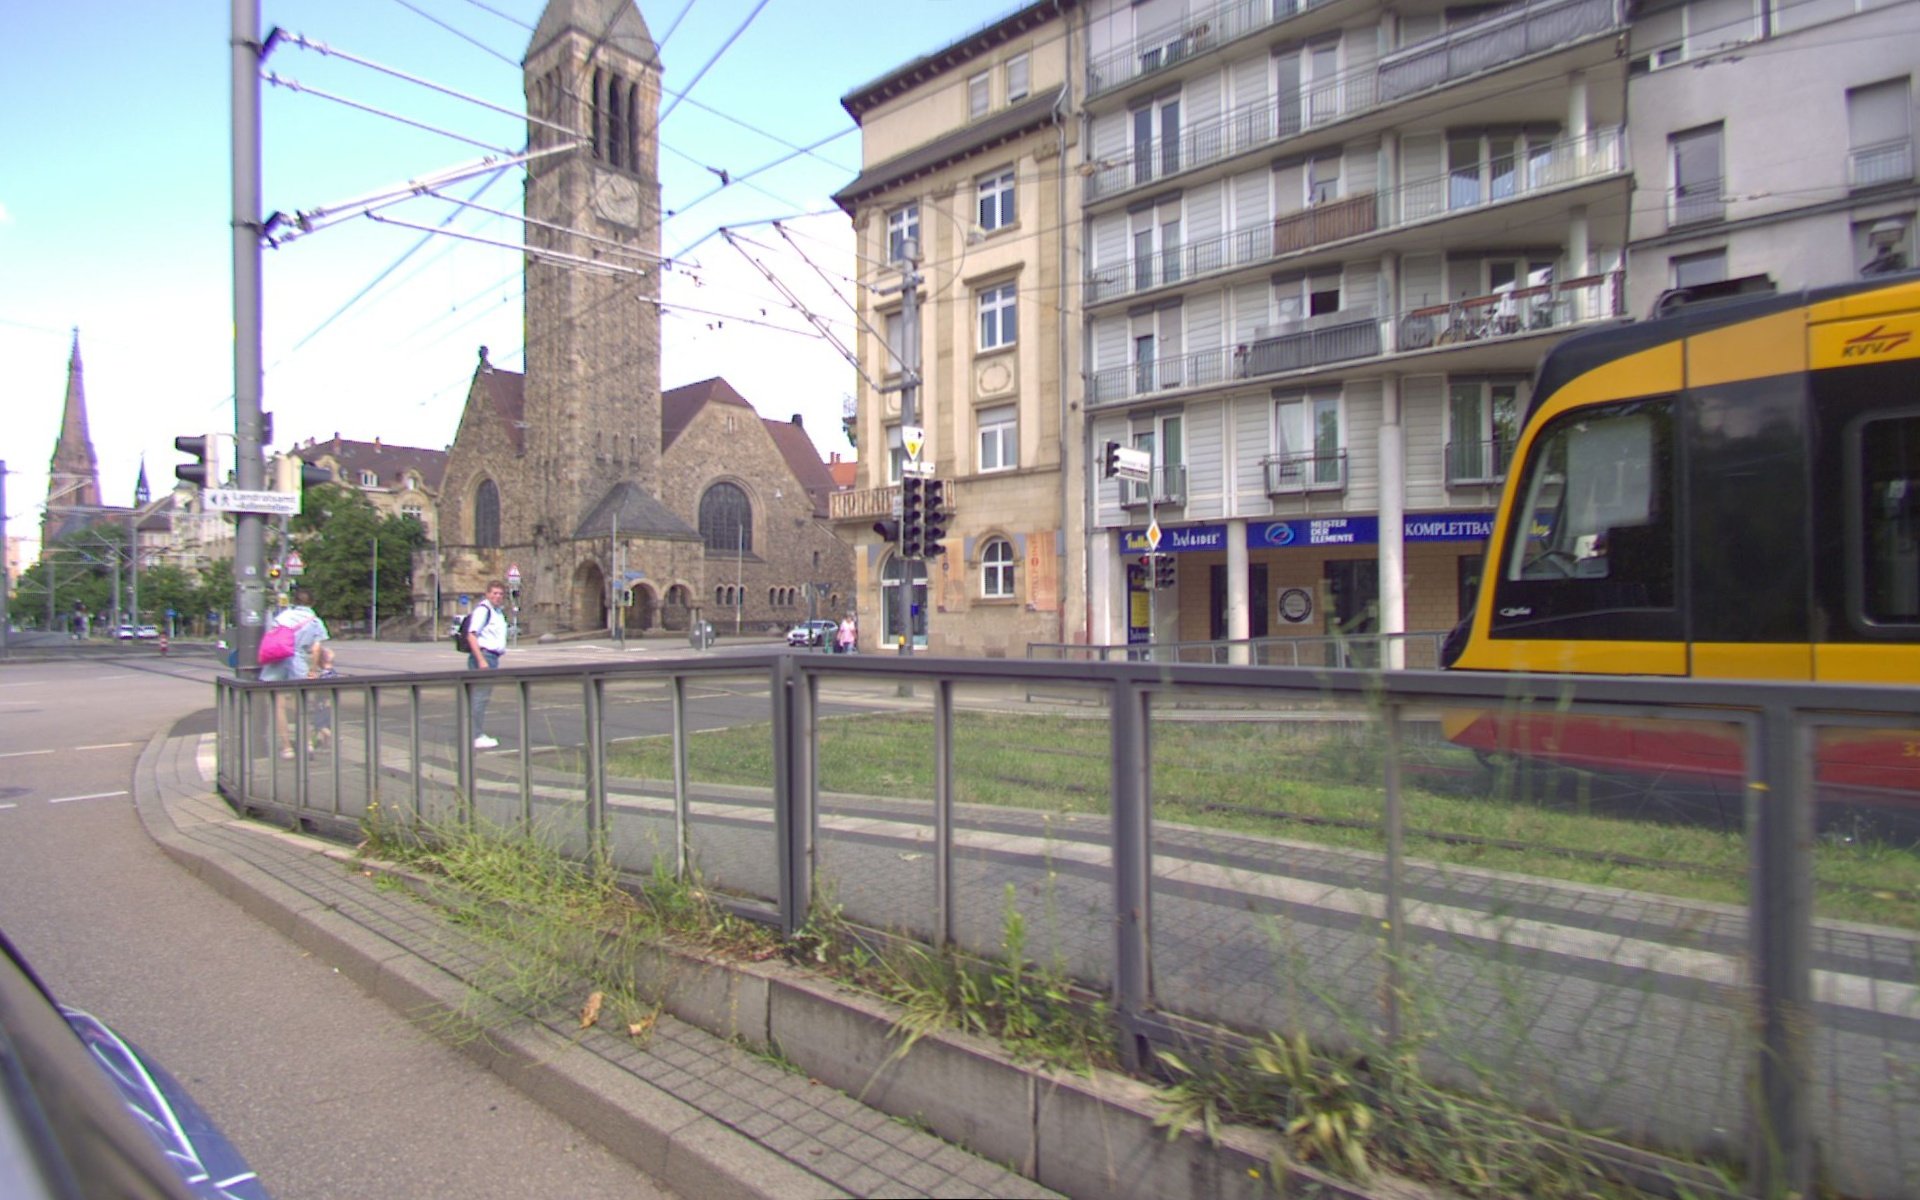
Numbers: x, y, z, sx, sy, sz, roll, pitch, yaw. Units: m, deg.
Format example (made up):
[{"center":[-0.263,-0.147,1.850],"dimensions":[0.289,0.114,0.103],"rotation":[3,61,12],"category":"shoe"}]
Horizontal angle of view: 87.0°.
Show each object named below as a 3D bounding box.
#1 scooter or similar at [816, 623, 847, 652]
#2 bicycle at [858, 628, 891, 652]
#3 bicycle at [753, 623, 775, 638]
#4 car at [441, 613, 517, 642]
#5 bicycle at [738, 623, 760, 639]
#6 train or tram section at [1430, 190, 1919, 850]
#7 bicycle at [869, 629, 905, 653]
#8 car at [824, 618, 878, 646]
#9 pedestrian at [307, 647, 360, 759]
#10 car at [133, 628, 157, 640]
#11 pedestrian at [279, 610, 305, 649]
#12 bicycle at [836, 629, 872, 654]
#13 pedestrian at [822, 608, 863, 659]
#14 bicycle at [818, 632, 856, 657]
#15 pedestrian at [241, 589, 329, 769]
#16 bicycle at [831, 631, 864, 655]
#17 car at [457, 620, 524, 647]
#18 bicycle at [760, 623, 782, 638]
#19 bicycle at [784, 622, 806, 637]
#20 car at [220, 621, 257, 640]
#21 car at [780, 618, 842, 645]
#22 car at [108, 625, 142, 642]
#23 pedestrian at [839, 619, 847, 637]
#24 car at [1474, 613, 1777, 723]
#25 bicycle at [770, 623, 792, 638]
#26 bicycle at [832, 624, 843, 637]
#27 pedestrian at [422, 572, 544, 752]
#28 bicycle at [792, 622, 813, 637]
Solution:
[{"center":[-5.303,1.556,41.761],"dimensions":[1.250,1.155,0.475],"rotation":[-4,-2,35],"category":"scooter or similar"},{"center":[-4.093,1.906,48.289],"dimensions":[1.469,1.060,0.460],"rotation":[-2,-3,13],"category":"bicycle"},{"center":[-15.736,2.435,81.269],"dimensions":[1.937,1.120,0.579],"rotation":[2,1,38],"category":"bicycle"},{"center":[-33.216,1.948,69.964],"dimensions":[1.999,1.868,4.246],"rotation":[-3,-4,40],"category":"car"},{"center":[-16.669,2.425,80.022],"dimensions":[1.937,1.120,0.579],"rotation":[2,1,38],"category":"bicycle"},{"center":[9.156,-0.509,3.950],"dimensions":[13.009,3.611,2.778],"rotation":[-1,-1,41],"category":"train or tram section"},{"center":[-3.319,1.873,46.153],"dimensions":[1.573,1.060,0.476],"rotation":[-3,-3,25],"category":"bicycle"},{"center":[-6.041,1.768,56.615],"dimensions":[1.704,1.444,3.798],"rotation":[0,-1,16],"category":"car"},{"center":[-6.322,1.024,10.225],"dimensions":[0.413,1.071,0.438],"rotation":[0,-1,-26],"category":"pedestrian"},{"center":[-88.458,3.659,109.818],"dimensions":[3.062,1.243,1.633],"rotation":[-2,-2,42],"category":"car"},{"center":[-30.109,1.323,45.618],"dimensions":[0.743,1.744,0.762],"rotation":[-2,-2,41],"category":"pedestrian"},{"center":[-4.840,1.910,46.204],"dimensions":[1.573,1.060,0.476],"rotation":[-3,-3,25],"category":"bicycle"},{"center":[-3.911,1.103,33.709],"dimensions":[0.936,1.607,0.990],"rotation":[-5,-3,17],"category":"pedestrian"},{"center":[-5.575,2.012,45.772],"dimensions":[1.731,1.060,0.525],"rotation":[-4,-3,33],"category":"bicycle"},{"center":[-6.581,0.742,9.893],"dimensions":[0.615,1.678,0.678],"rotation":[0,-1,-25],"category":"pedestrian"},{"center":[-5.247,2.022,47.207],"dimensions":[1.472,1.060,0.460],"rotation":[-3,-2,17],"category":"bicycle"},{"center":[-31.118,2.237,67.140],"dimensions":[1.816,1.691,3.590],"rotation":[-3,-4,38],"category":"car"},{"center":[-15.293,2.439,81.820],"dimensions":[1.937,1.120,0.579],"rotation":[2,1,38],"category":"bicycle"},{"center":[-13.663,2.454,83.740],"dimensions":[1.937,1.120,0.579],"rotation":[2,1,38],"category":"bicycle"},{"center":[-61.053,2.589,85.584],"dimensions":[3.836,1.506,1.765],"rotation":[-2,-2,42],"category":"car"},{"center":[-8.445,1.779,57.683],"dimensions":[1.812,1.459,4.361],"rotation":[1,-1,17],"category":"car"},{"center":[-76.006,3.030,92.107],"dimensions":[4.130,1.517,1.795],"rotation":[-2,-2,43],"category":"car"},{"center":[-9.443,2.263,81.637],"dimensions":[0.461,1.466,0.554],"rotation":[-1,-2,12],"category":"pedestrian"},{"center":[9.940,0.944,15.246],"dimensions":[3.640,1.449,1.617],"rotation":[-1,-2,40],"category":"car"},{"center":[-14.568,2.443,82.495],"dimensions":[1.937,1.120,0.579],"rotation":[2,1,38],"category":"bicycle"},{"center":[-9.923,2.438,81.720],"dimensions":[0.475,1.060,1.438],"rotation":[-1,-2,11],"category":"bicycle"},{"center":[-5.081,0.633,10.777],"dimensions":[1.044,1.794,0.839],"rotation":[-2,-2,41],"category":"pedestrian"},{"center":[-13.142,2.459,84.338],"dimensions":[1.937,1.120,0.579],"rotation":[2,1,38],"category":"bicycle"}]
